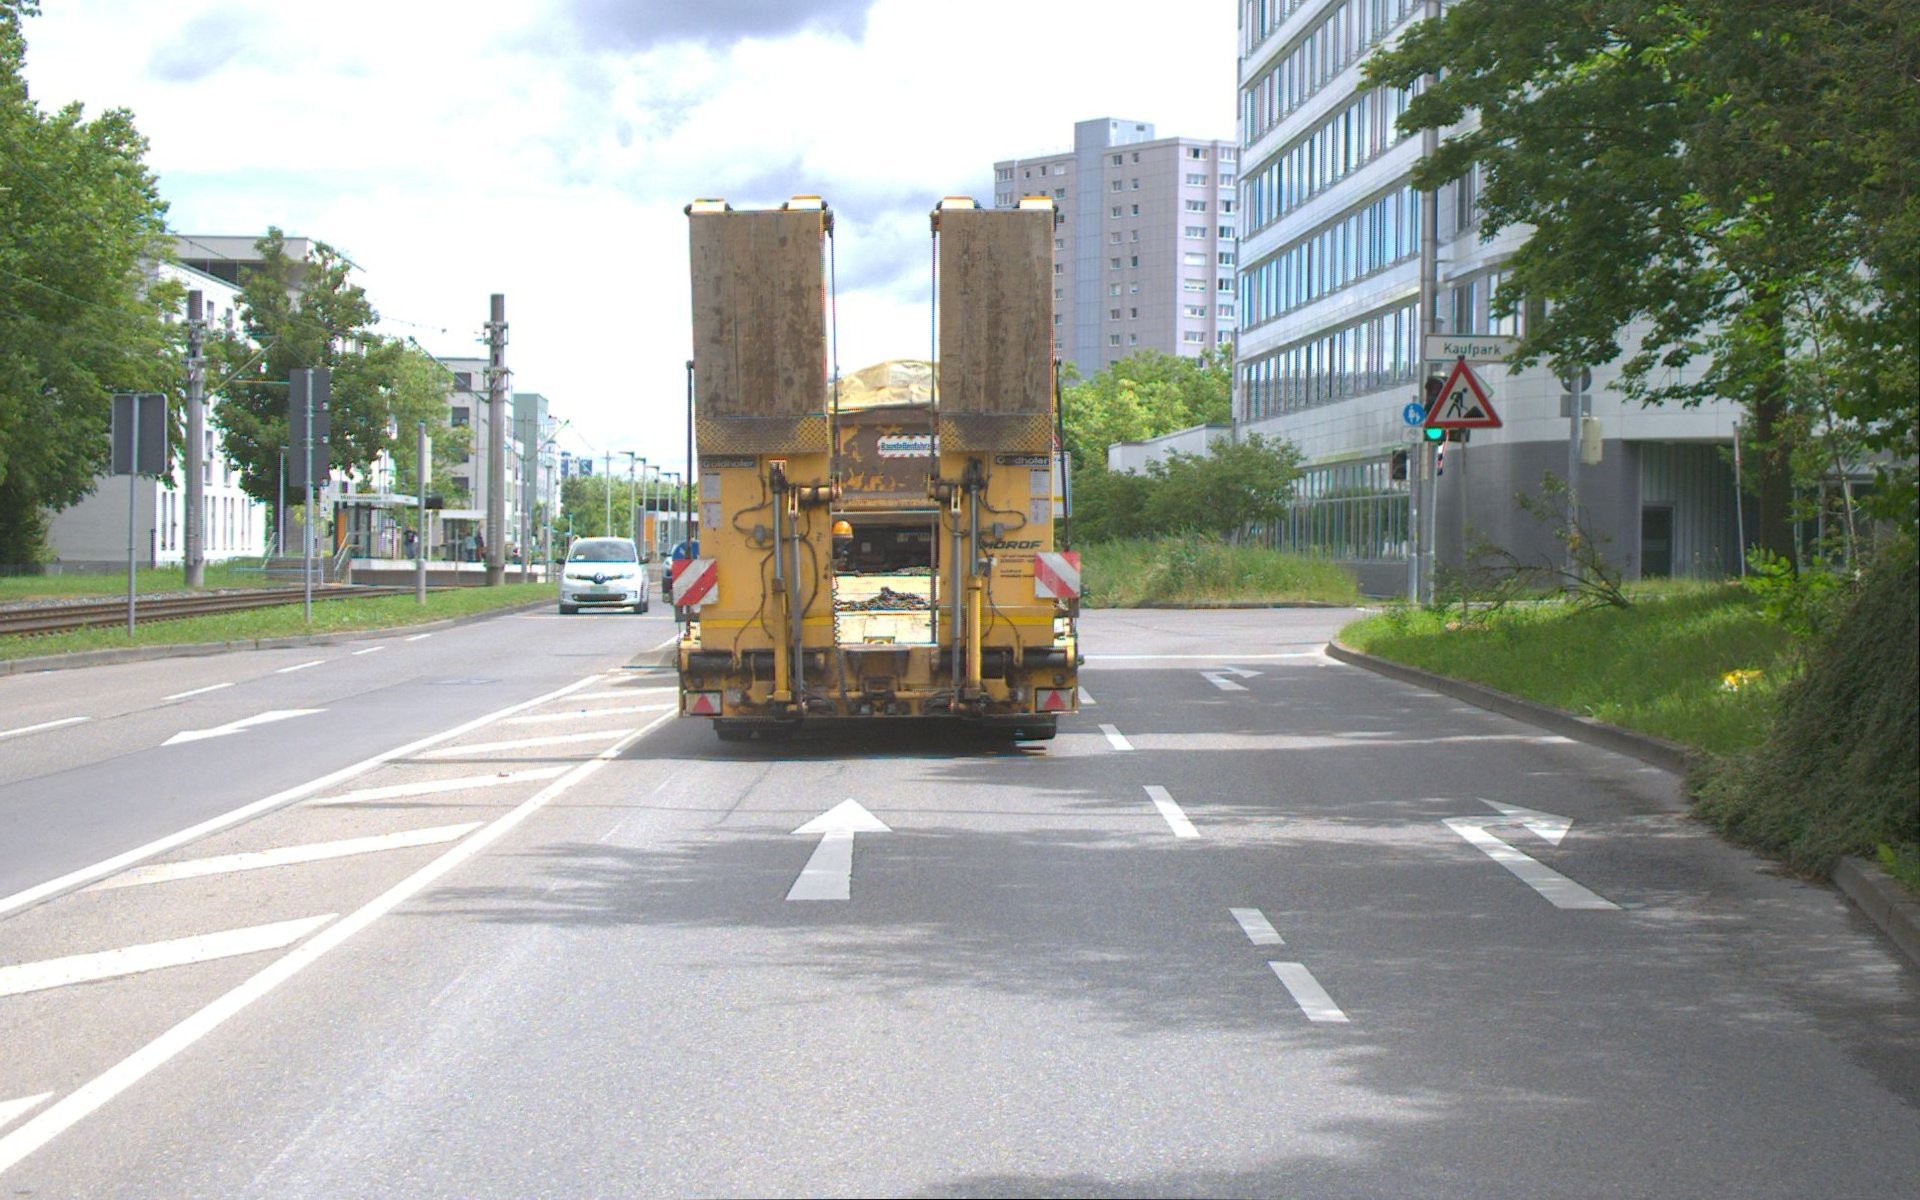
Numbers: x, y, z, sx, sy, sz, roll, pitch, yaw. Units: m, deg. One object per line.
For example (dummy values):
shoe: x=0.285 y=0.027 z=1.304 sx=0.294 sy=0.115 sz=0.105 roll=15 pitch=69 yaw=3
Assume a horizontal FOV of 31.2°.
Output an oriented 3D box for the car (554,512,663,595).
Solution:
car: x=-7.068 y=-0.937 z=69.426 sx=1.728 sy=1.607 sz=4.263 roll=1 pitch=1 yaw=0

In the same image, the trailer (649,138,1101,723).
trailer: x=-0.805 y=-1.094 z=26.698 sx=2.729 sy=3.546 sz=11.255 roll=1 pitch=1 yaw=-3

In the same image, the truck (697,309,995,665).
truck: x=-1.218 y=-1.104 z=36.491 sx=2.753 sy=3.302 sz=8.352 roll=1 pitch=1 yaw=-2

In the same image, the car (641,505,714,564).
car: x=-8.706 y=-2.042 z=106.287 sx=1.860 sy=1.604 sz=4.608 roll=0 pitch=4 yaw=0

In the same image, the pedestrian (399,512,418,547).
pedestrian: x=-24.416 y=-3.102 z=152.197 sx=0.741 sy=1.526 sz=0.547 roll=1 pitch=0 yaw=1
